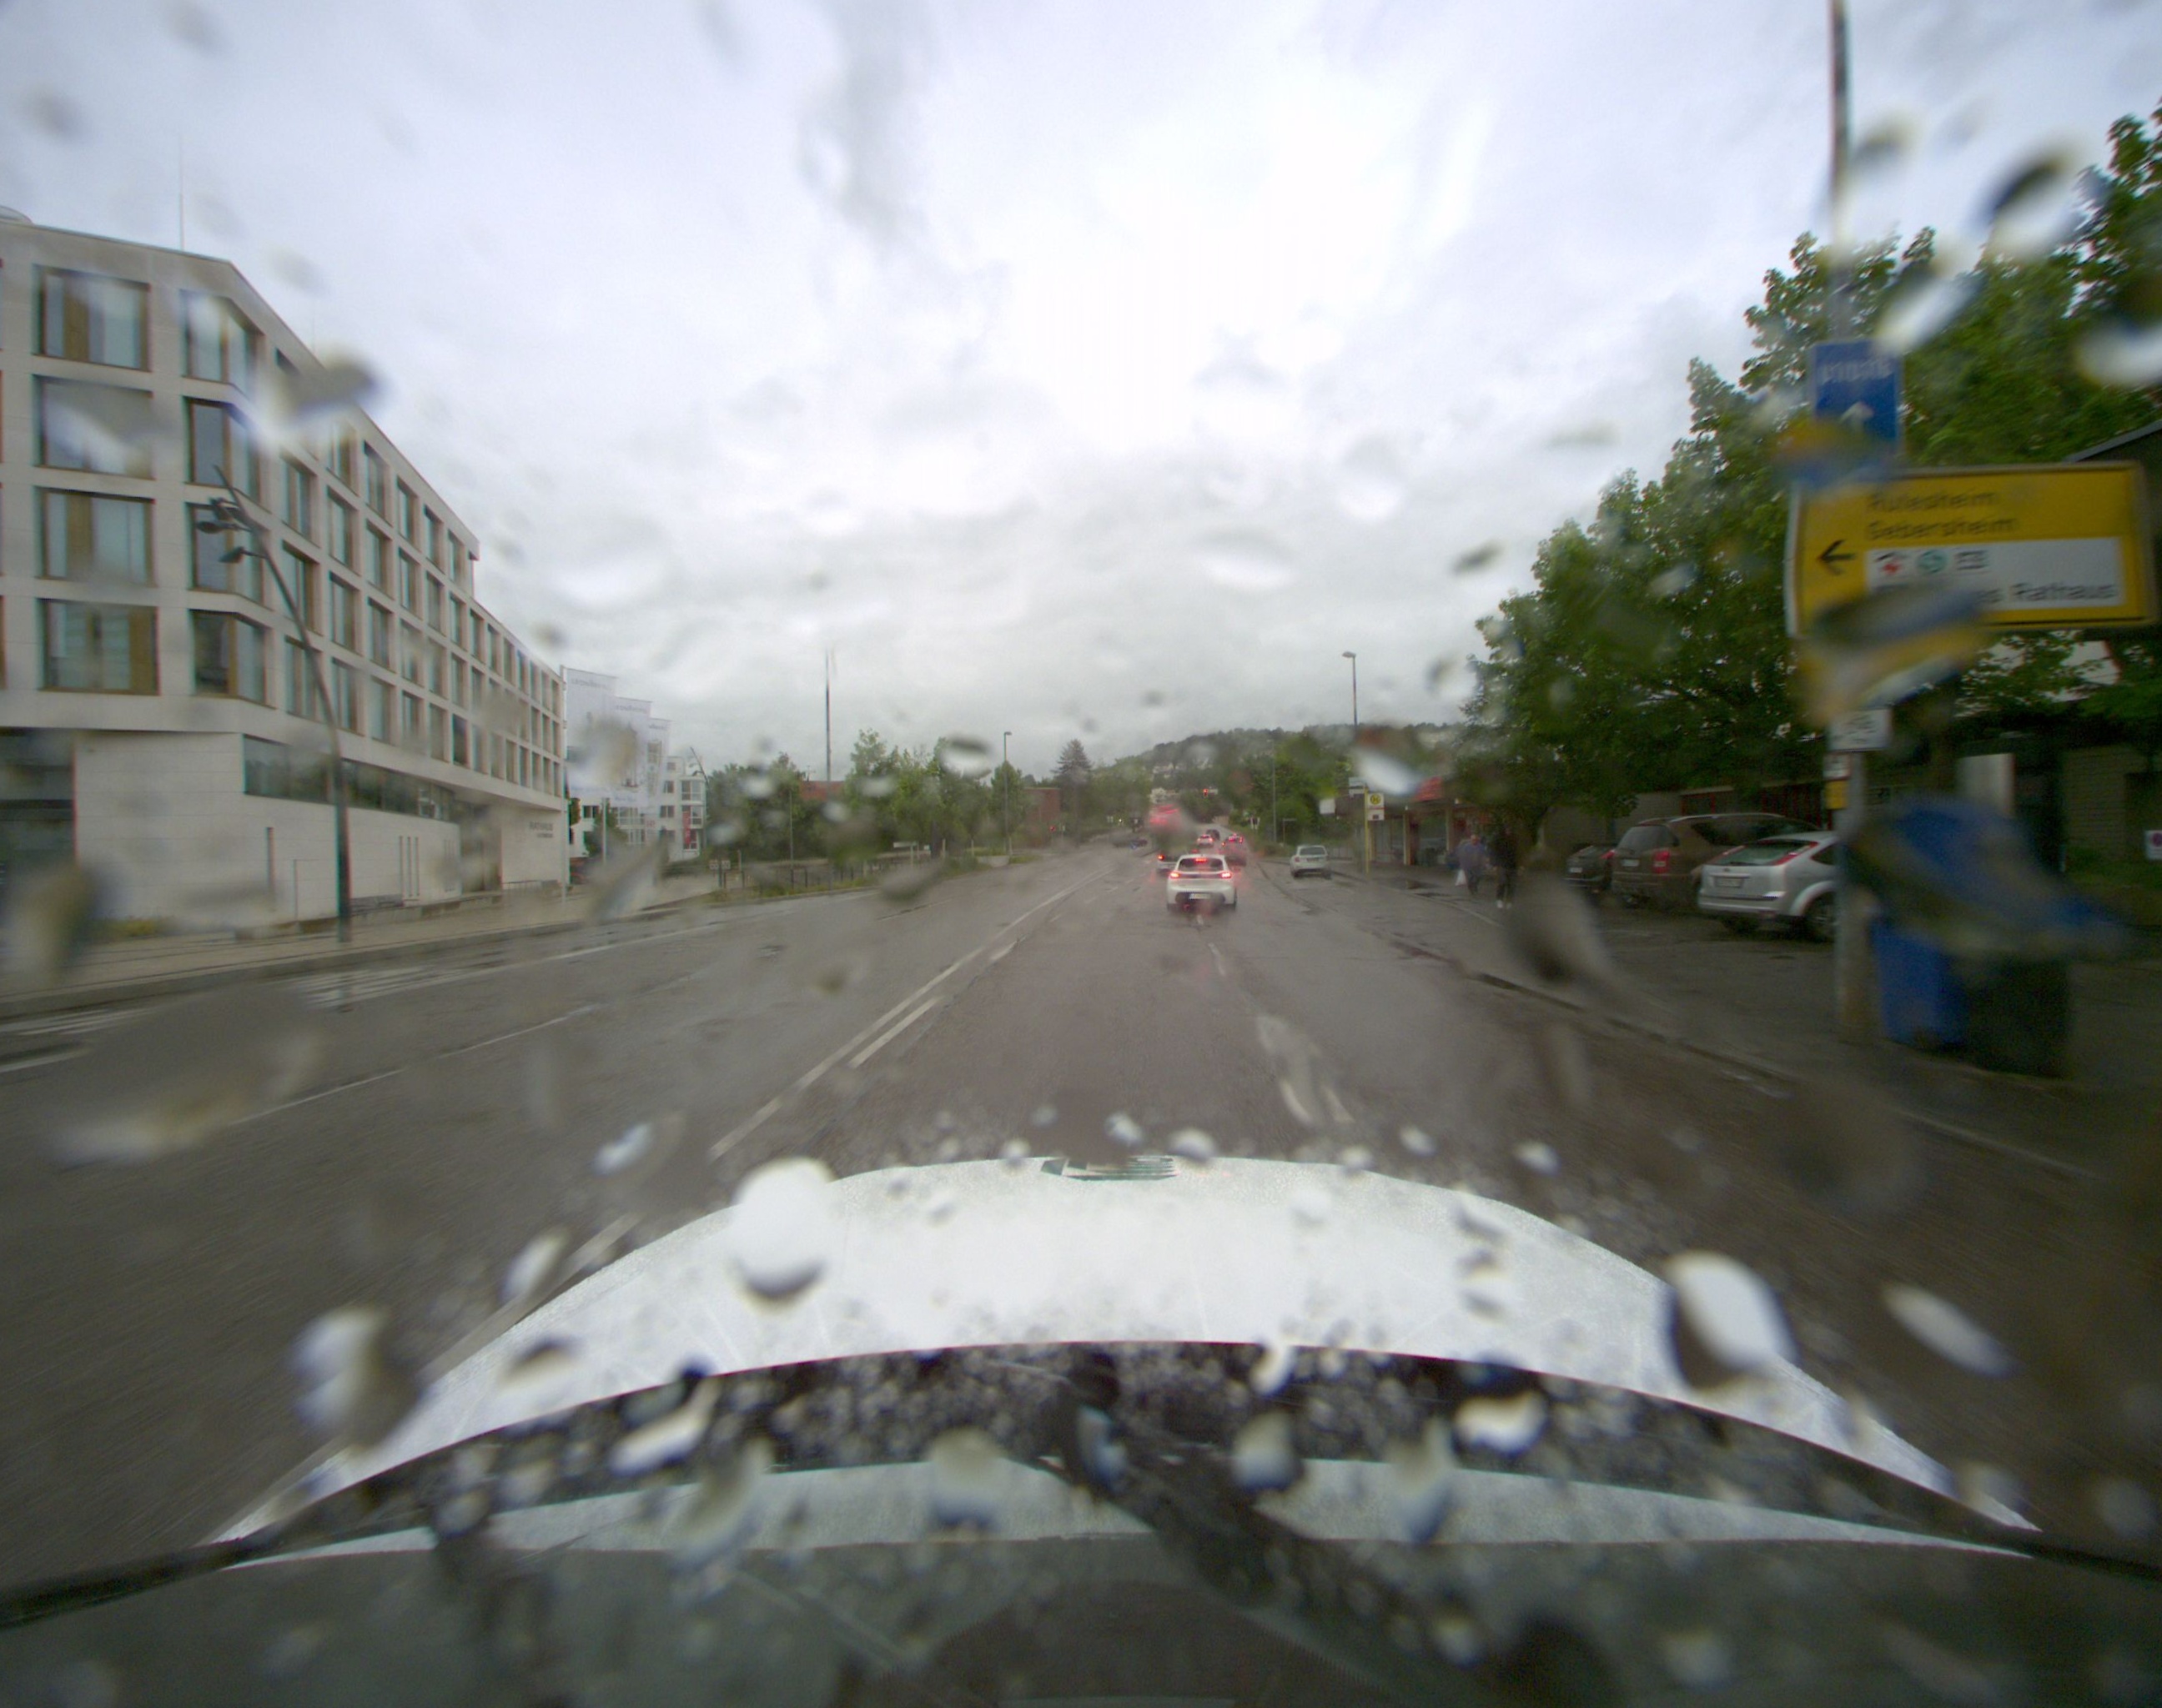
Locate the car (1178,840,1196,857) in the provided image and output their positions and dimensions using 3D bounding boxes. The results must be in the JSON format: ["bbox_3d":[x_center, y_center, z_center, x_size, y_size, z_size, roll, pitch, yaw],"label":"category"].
[{"bbox_3d":[7.914,-0.378,60.885,1.207,1.156,2.273,-2,-2,4],"label":"car"}]

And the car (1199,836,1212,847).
[{"bbox_3d":[14.266,-1.467,93.538,1.378,1.126,2.614,-2,-2,6],"label":"car"}]

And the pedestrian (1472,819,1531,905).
[{"bbox_3d":[9.201,0.174,17.842,0.712,1.821,0.790,-1,-2,-26],"label":"pedestrian"}]

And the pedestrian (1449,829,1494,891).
[{"bbox_3d":[11.294,0.159,23.565,0.871,1.737,0.760,-3,1,2],"label":"pedestrian"}]

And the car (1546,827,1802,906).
[{"bbox_3d":[12.638,0.252,17.567,4.131,1.454,1.804,-2,0,2],"label":"car"}]

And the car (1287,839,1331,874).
[{"bbox_3d":[10.918,0.060,39.252,1.719,1.497,4.496,-3,1,12],"label":"car"}]

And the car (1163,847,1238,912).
[{"bbox_3d":[3.220,0.584,21.460,1.679,1.519,3.946,0,1,12],"label":"car"}]

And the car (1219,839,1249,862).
[{"bbox_3d":[10.569,-0.265,56.336,1.726,1.387,3.357,0,3,5],"label":"car"}]

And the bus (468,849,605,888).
[{"bbox_3d":[-51.301,1.372,77.210,10.432,3.281,2.837,-1,-2,-27],"label":"bus"}]

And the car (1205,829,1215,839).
[{"bbox_3d":[18.277,-2.831,115.350,1.358,1.157,2.432,-2,-1,8],"label":"car"}]

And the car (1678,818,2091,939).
[{"bbox_3d":[11.188,0.321,11.604,3.968,1.447,1.749,-2,0,5],"label":"car"}]

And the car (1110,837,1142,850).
[{"bbox_3d":[5.656,-1.302,101.568,3.531,1.569,1.786,-1,-2,-24],"label":"car"}]

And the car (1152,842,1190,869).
[{"bbox_3d":[4.705,0.099,42.487,1.731,1.296,3.343,-2,-1,9],"label":"car"}]

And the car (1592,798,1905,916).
[{"bbox_3d":[12.055,0.053,14.964,4.074,1.871,1.879,-2,0,5],"label":"car"}]

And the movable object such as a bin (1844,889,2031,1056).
[{"bbox_3d":[6.216,0.833,5.951,0.633,1.074,0.699,-2,2,3],"label":"movable object such as a bin"}]
